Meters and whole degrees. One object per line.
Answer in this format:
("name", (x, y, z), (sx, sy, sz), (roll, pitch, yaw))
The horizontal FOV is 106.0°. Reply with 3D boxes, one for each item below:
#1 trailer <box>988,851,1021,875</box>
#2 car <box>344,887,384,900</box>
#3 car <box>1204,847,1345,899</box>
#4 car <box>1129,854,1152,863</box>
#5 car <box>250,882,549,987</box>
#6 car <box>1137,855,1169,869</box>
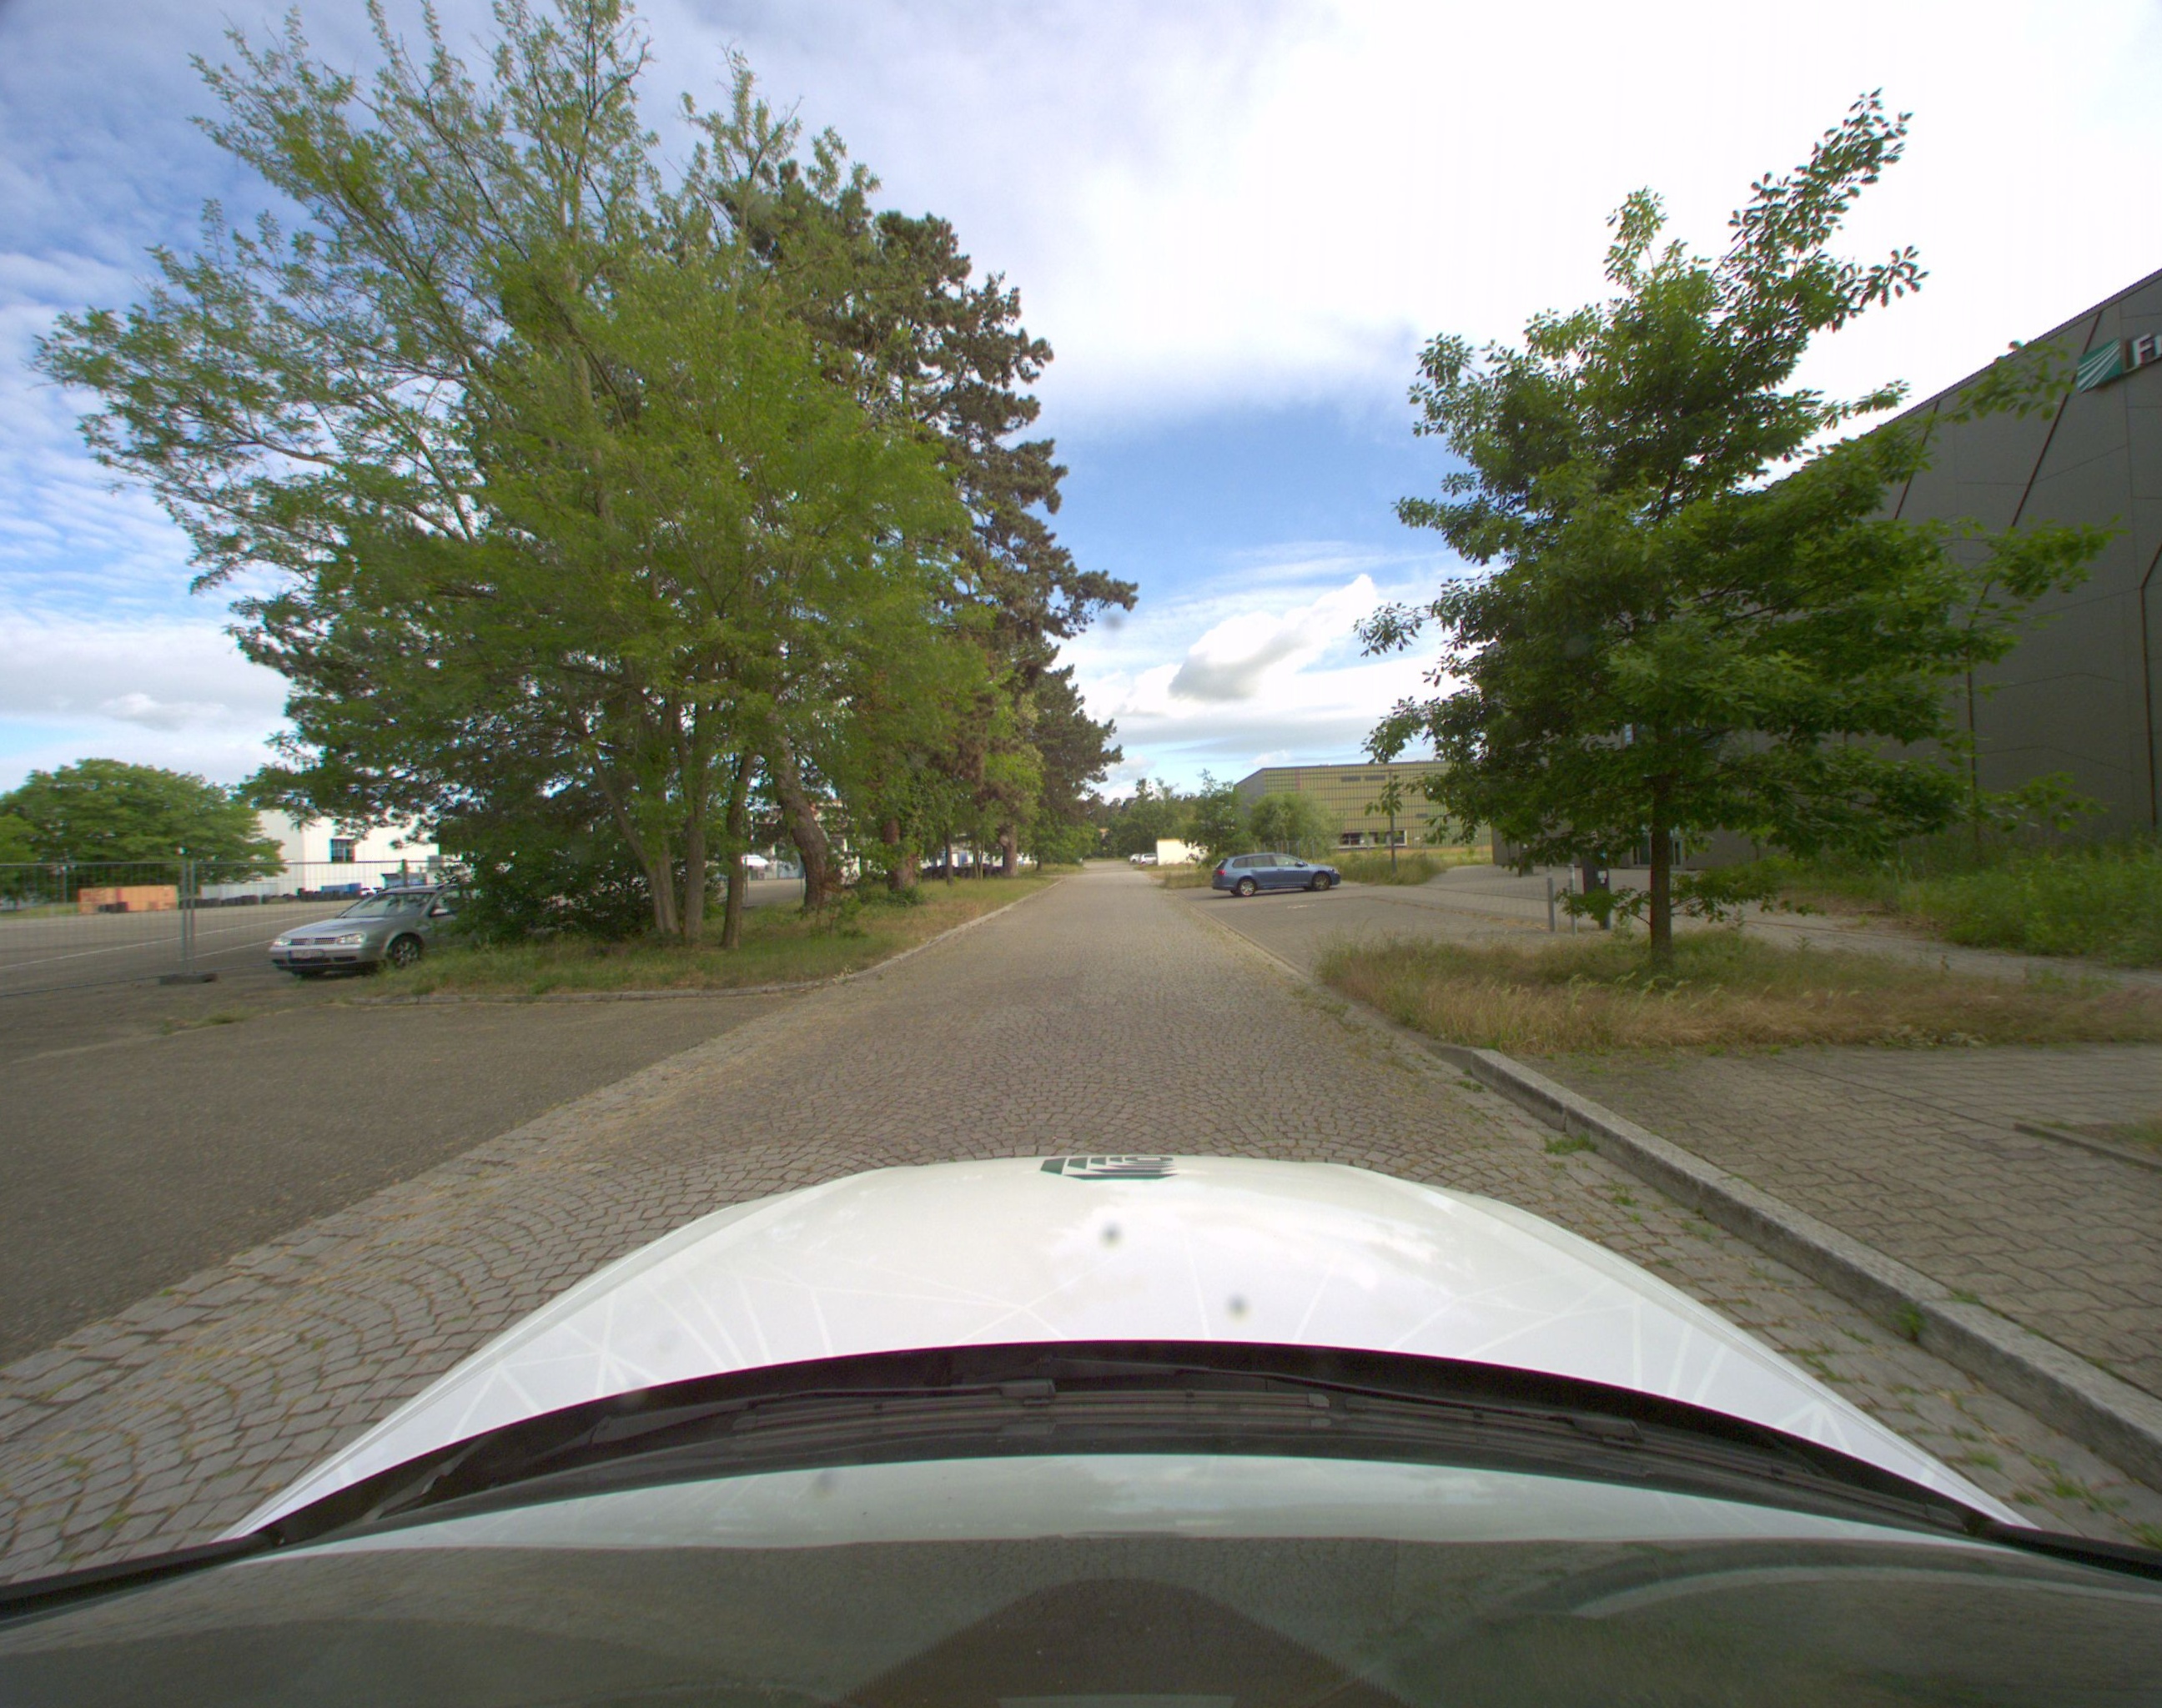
("trailer", (-10.789, 1.251, 115.722), (3.145, 3.067, 8.793), (-2, 0, 4))
("car", (-98.796, 5.432, 112.223), (3.954, 1.533, 1.630), (-2, -1, -1))
("car", (6.825, 0.657, 29.031), (4.510, 1.443, 1.822), (-4, 0, -2))
("car", (10.875, 0.781, 148.710), (4.009, 1.502, 1.549), (-3, -1, 2))
("car", (-12.119, 1.334, 14.980), (1.710, 1.438, 4.466), (-2, 0, 0))
("car", (9.025, 1.022, 102.566), (3.838, 1.654, 1.685), (-2, -1, -1))
